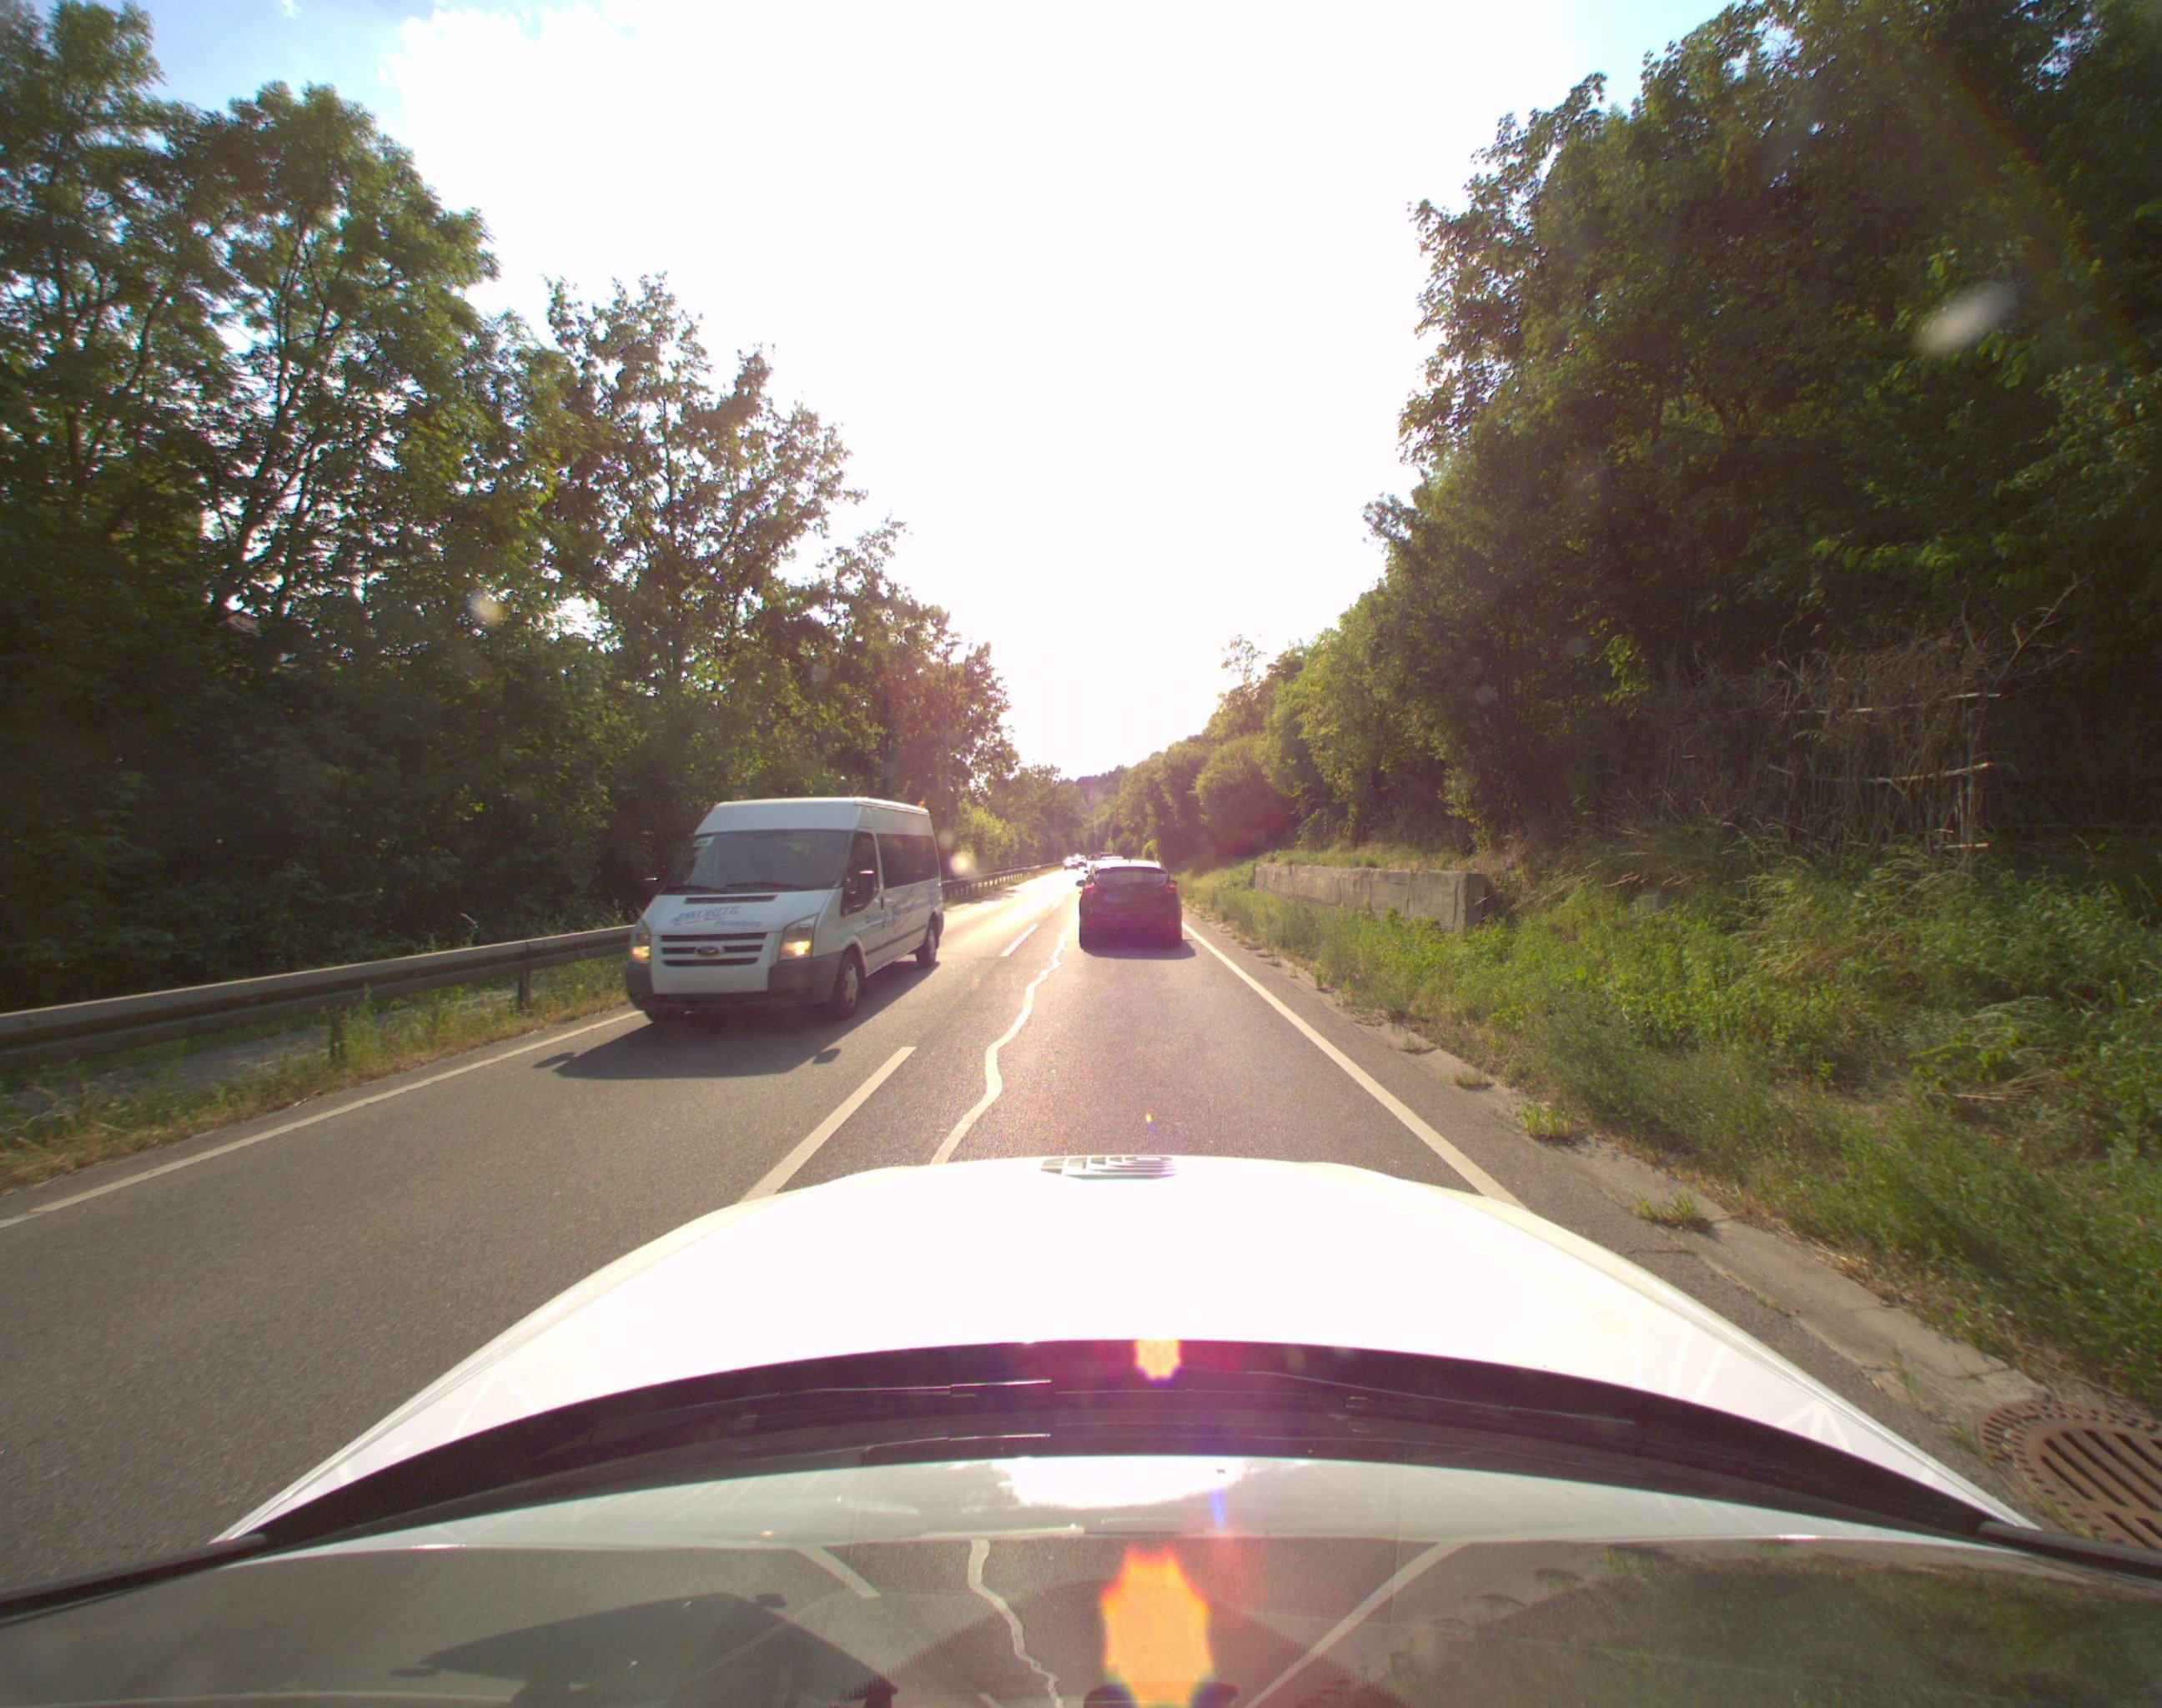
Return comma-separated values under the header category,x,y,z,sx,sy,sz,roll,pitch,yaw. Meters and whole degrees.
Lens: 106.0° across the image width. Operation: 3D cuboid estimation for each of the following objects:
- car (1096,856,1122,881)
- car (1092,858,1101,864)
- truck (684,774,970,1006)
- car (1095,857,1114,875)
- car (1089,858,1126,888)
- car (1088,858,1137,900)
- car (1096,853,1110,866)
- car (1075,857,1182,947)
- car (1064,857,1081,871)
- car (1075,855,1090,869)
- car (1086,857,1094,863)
category,x,y,z,sx,sy,sz,roll,pitch,yaw
car,1.879,0.941,53.988,1.624,1.596,4.002,-2,0,2
car,3.930,1.765,208.570,1.991,1.519,3.992,-2,0,-6
truck,-3.075,0.390,11.495,2.050,2.385,5.874,-2,0,1
car,2.134,1.094,74.500,1.624,1.596,4.002,-2,0,2
car,1.356,0.936,41.554,1.798,1.391,4.002,-2,0,2
car,1.204,0.870,30.224,1.654,1.418,4.003,-1,0,3
car,3.173,0.771,117.740,1.856,1.780,4.002,-2,0,2
car,0.840,0.800,15.276,1.733,1.456,4.001,0,-1,2
car,-0.961,1.146,94.507,1.675,1.442,4.001,-2,0,1
car,0.193,1.087,109.806,1.741,1.717,4.223,-2,0,2
car,2.676,1.786,242.565,1.991,1.519,3.992,-2,0,-6
